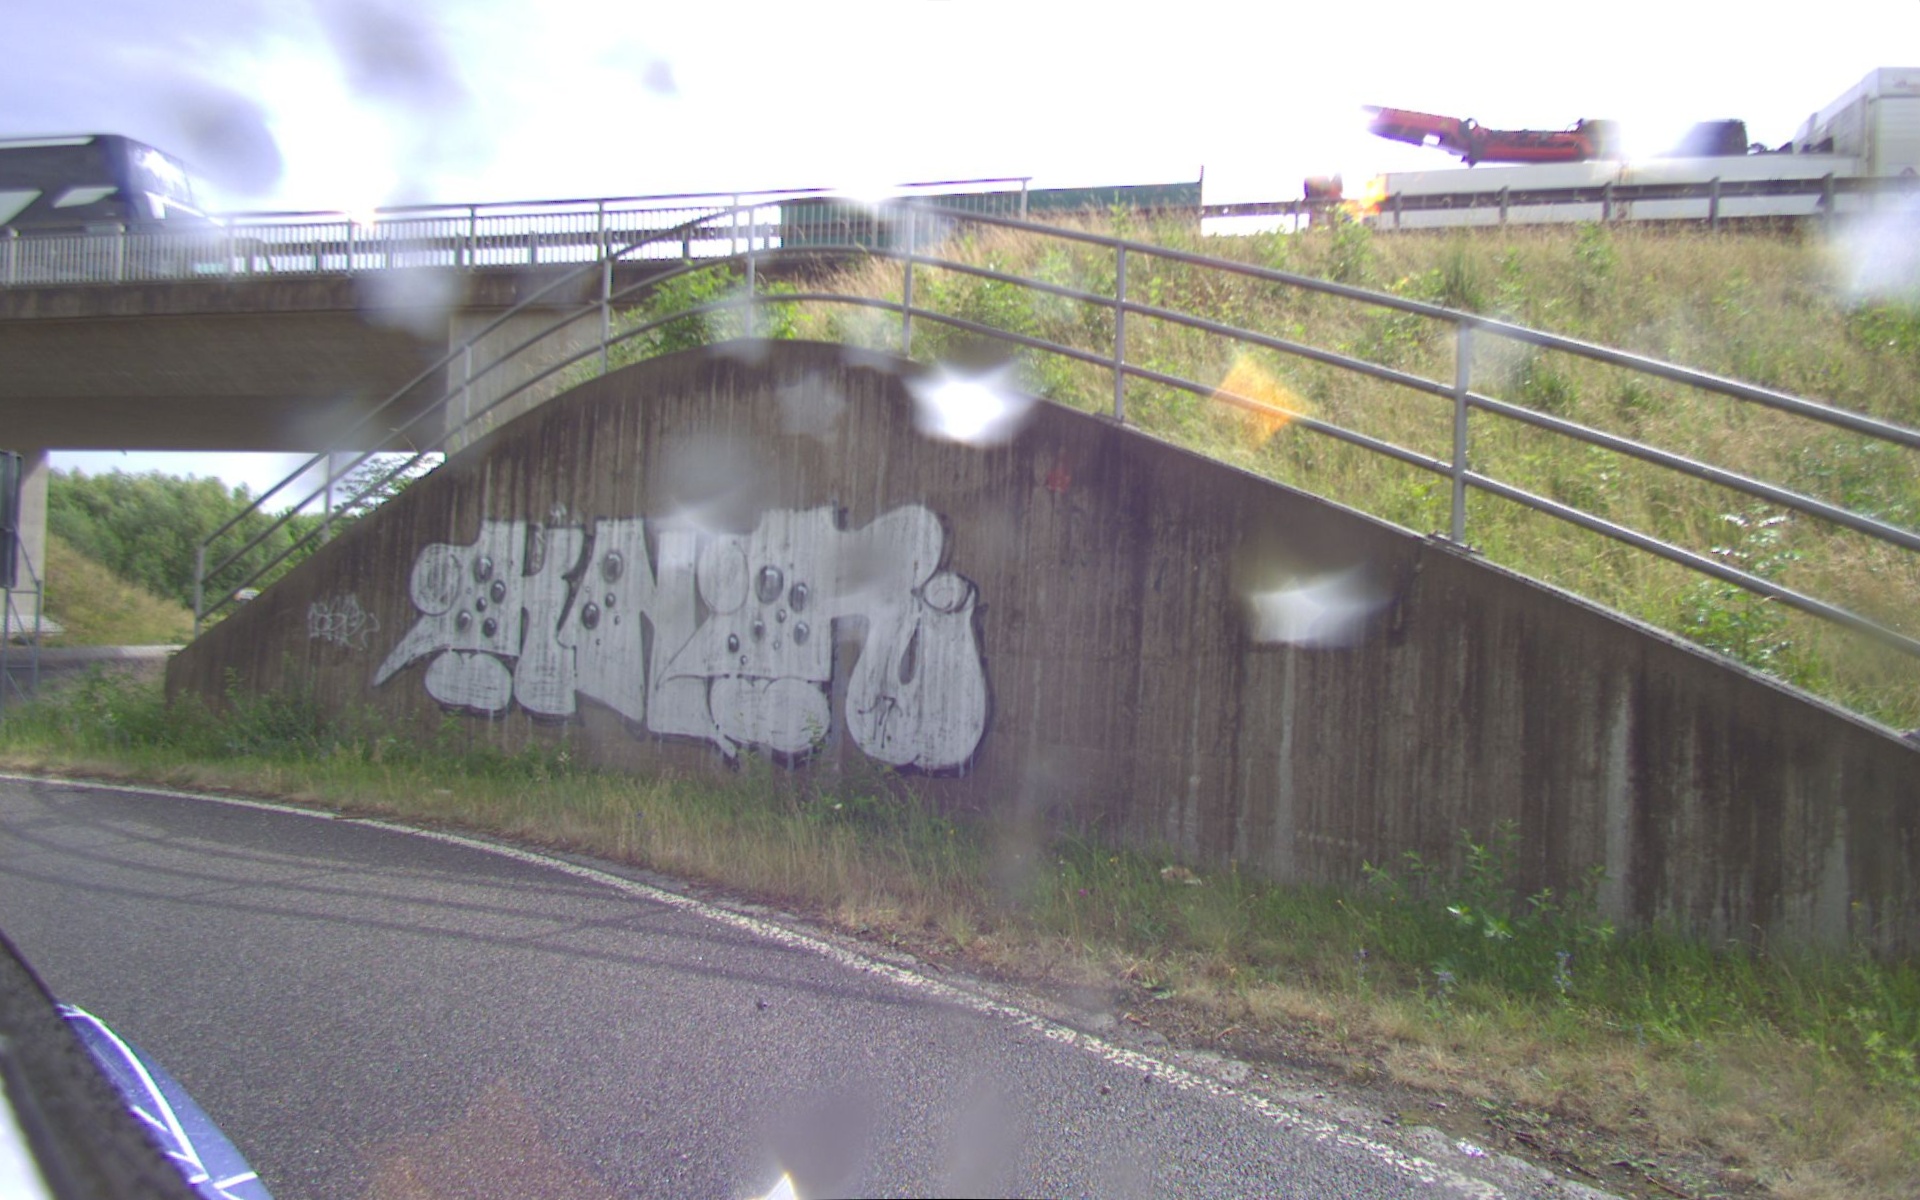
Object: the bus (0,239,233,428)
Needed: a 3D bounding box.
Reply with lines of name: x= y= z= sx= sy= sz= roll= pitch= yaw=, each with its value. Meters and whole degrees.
bus: x=-22.849 y=-5.518 z=21.012 sx=14.280 sy=3.102 sz=2.609 roll=2 pitch=0 yaw=5
